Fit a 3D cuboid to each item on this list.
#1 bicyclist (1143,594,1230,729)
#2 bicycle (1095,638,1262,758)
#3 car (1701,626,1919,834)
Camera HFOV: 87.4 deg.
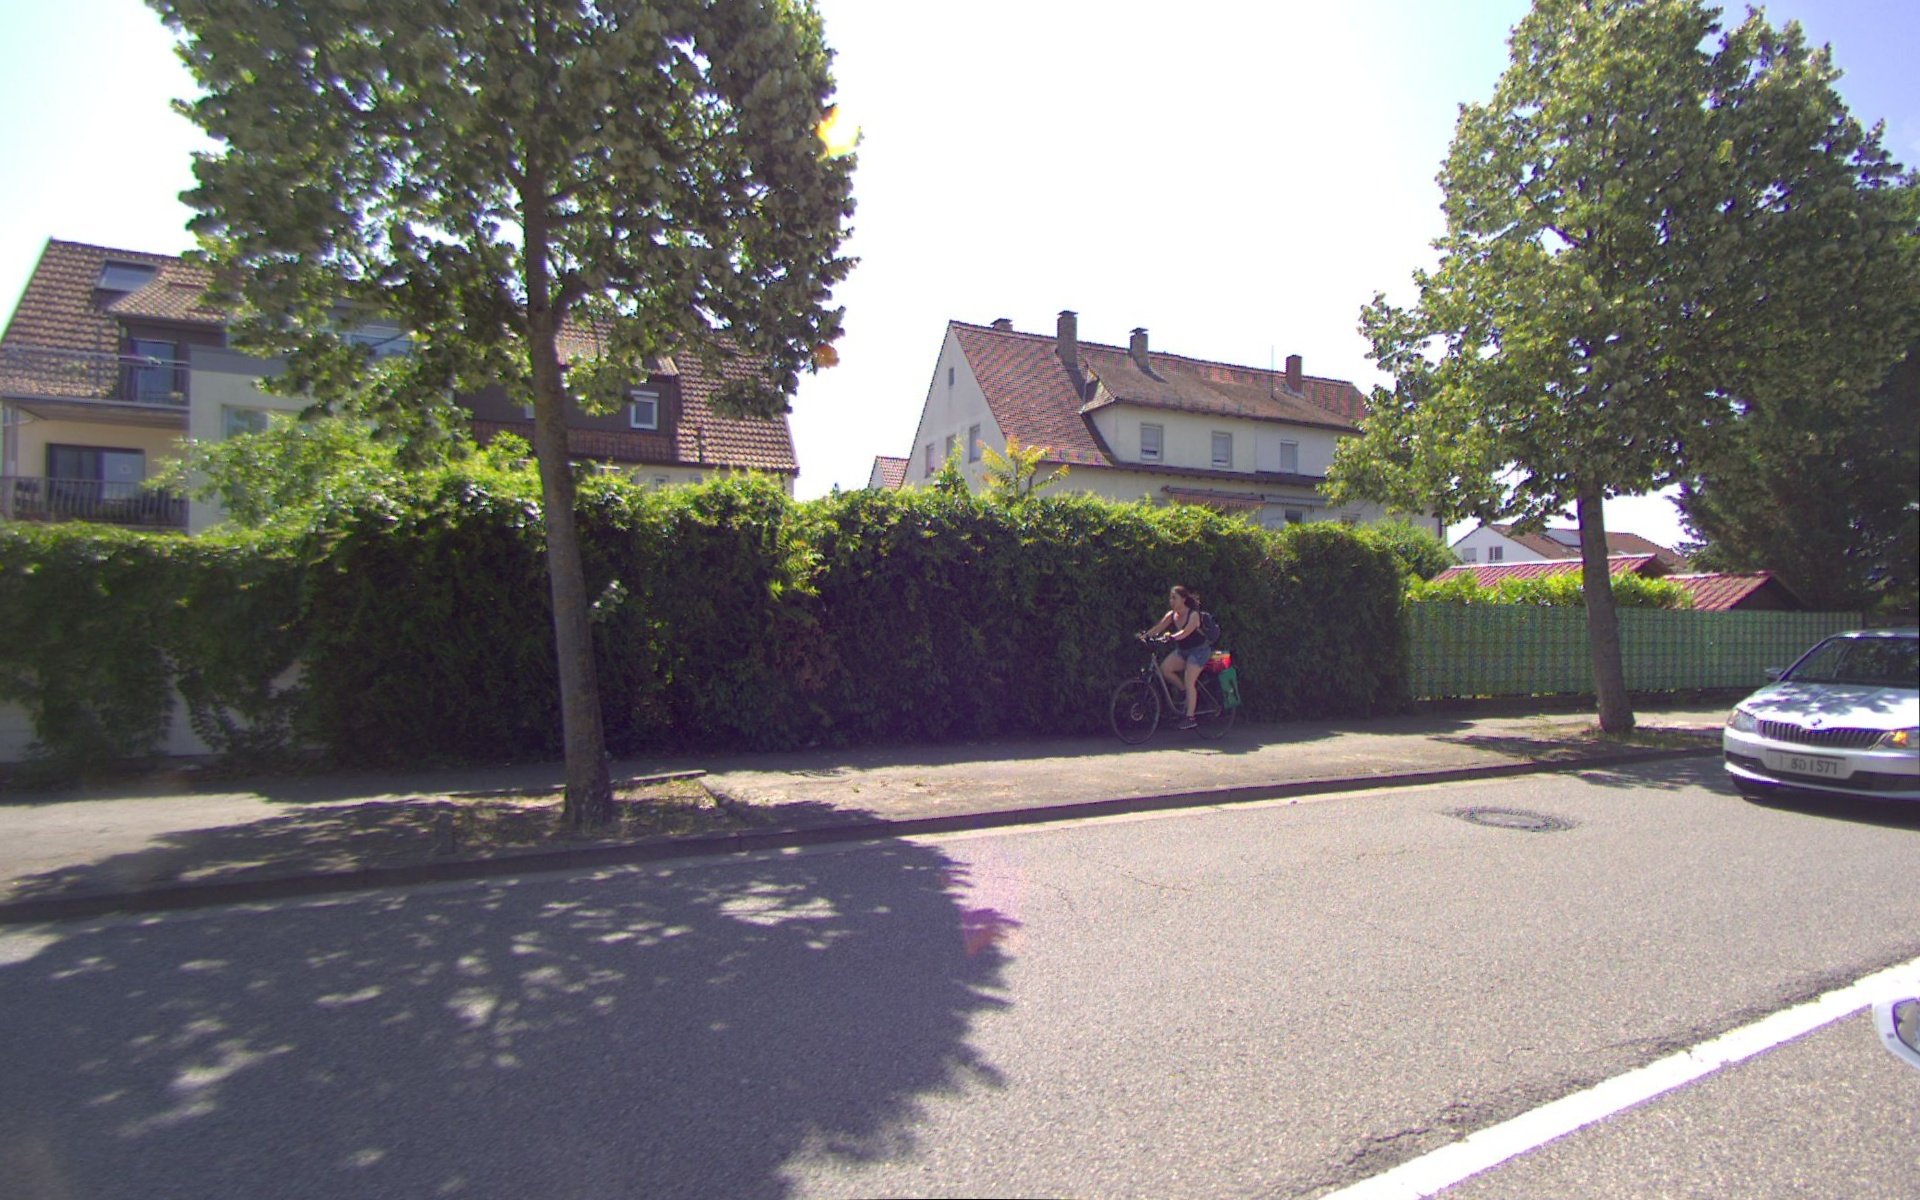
[{"bbox_3d":[2.476,0.661,11.004,0.668,1.427,0.626,0,-2,-29],"label":"bicyclist"},{"bbox_3d":[2.394,1.027,10.949,1.793,1.195,0.629,0,-2,-29],"label":"bicycle"},{"bbox_3d":[8.284,0.977,8.688,3.661,1.502,1.606,1,-2,-28],"label":"car"}]
